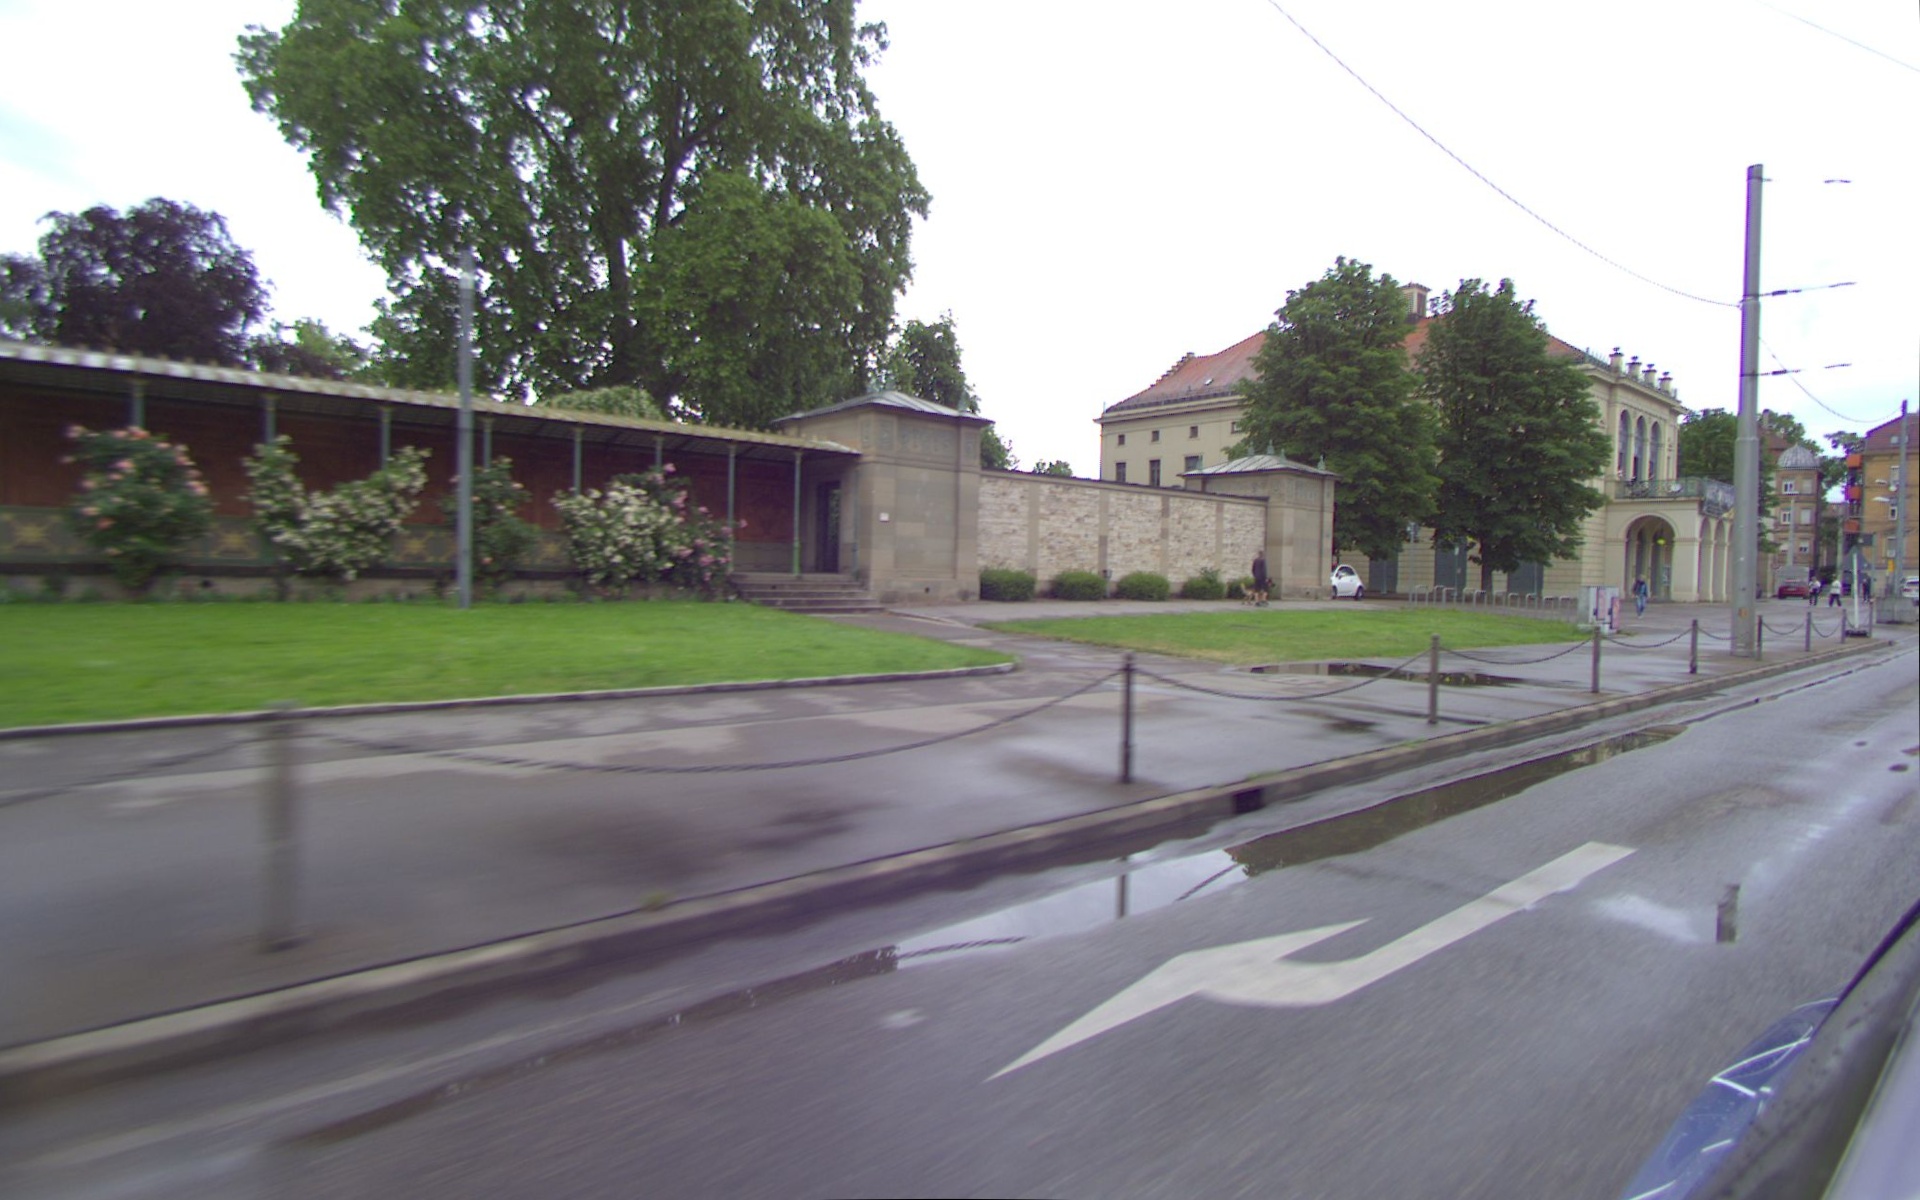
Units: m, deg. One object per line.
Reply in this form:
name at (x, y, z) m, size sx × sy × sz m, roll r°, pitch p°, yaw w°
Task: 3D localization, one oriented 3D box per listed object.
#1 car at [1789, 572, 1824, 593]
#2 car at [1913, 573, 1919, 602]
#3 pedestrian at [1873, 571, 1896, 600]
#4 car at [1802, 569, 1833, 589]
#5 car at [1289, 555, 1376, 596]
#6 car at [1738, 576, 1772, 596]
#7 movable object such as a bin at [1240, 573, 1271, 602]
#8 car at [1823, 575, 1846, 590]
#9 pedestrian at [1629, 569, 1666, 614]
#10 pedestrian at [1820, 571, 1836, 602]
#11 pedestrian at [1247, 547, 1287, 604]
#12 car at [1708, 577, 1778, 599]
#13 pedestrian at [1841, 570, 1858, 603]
car at (65.819, -1.392, 78.665) m, size 1.826 × 1.602 × 3.938 m, roll 2°, pitch 3°, yaw 43°
car at (57.980, -0.801, 60.104) m, size 1.839 × 1.660 × 4.077 m, roll -2°, pitch 0°, yaw 45°
pedestrian at (58.314, -0.904, 63.848) m, size 0.768 × 1.829 × 0.696 m, roll -1°, pitch 1°, yaw 9°
car at (73.363, -1.825, 86.533) m, size 1.826 × 1.602 × 3.938 m, roll 2°, pitch 3°, yaw 43°
car at (15.191, -1.004, 41.236) m, size 3.534 × 1.473 × 1.840 m, roll 2°, pitch 1°, yaw -41°
car at (63.905, -1.155, 81.288) m, size 1.858 × 1.567 × 4.004 m, roll 1°, pitch 2°, yaw 42°
movable object such as a bin at (9.248, -0.397, 31.643) m, size 1.171 × 0.882 × 0.343 m, roll -1°, pitch 2°, yaw -40°
car at (100.309, -2.042, 116.110) m, size 1.826 × 1.602 × 3.938 m, roll 2°, pitch 3°, yaw 43°
pedestrian at (25.931, -0.328, 38.175) m, size 0.654 × 1.610 × 0.868 m, roll 1°, pitch 3°, yaw -15°
pedestrian at (48.003, -0.750, 55.952) m, size 0.627 × 1.664 × 0.769 m, roll 2°, pitch 2°, yaw 42°
pedestrian at (9.398, -0.756, 31.006) m, size 0.964 × 1.732 × 0.730 m, roll -1°, pitch 2°, yaw -40°
car at (57.858, -0.891, 74.832) m, size 1.697 × 1.487 × 3.744 m, roll -1°, pitch 3°, yaw -38°
pedestrian at (48.410, -0.727, 55.061) m, size 0.825 × 1.757 × 0.594 m, roll -1°, pitch 2°, yaw -43°
